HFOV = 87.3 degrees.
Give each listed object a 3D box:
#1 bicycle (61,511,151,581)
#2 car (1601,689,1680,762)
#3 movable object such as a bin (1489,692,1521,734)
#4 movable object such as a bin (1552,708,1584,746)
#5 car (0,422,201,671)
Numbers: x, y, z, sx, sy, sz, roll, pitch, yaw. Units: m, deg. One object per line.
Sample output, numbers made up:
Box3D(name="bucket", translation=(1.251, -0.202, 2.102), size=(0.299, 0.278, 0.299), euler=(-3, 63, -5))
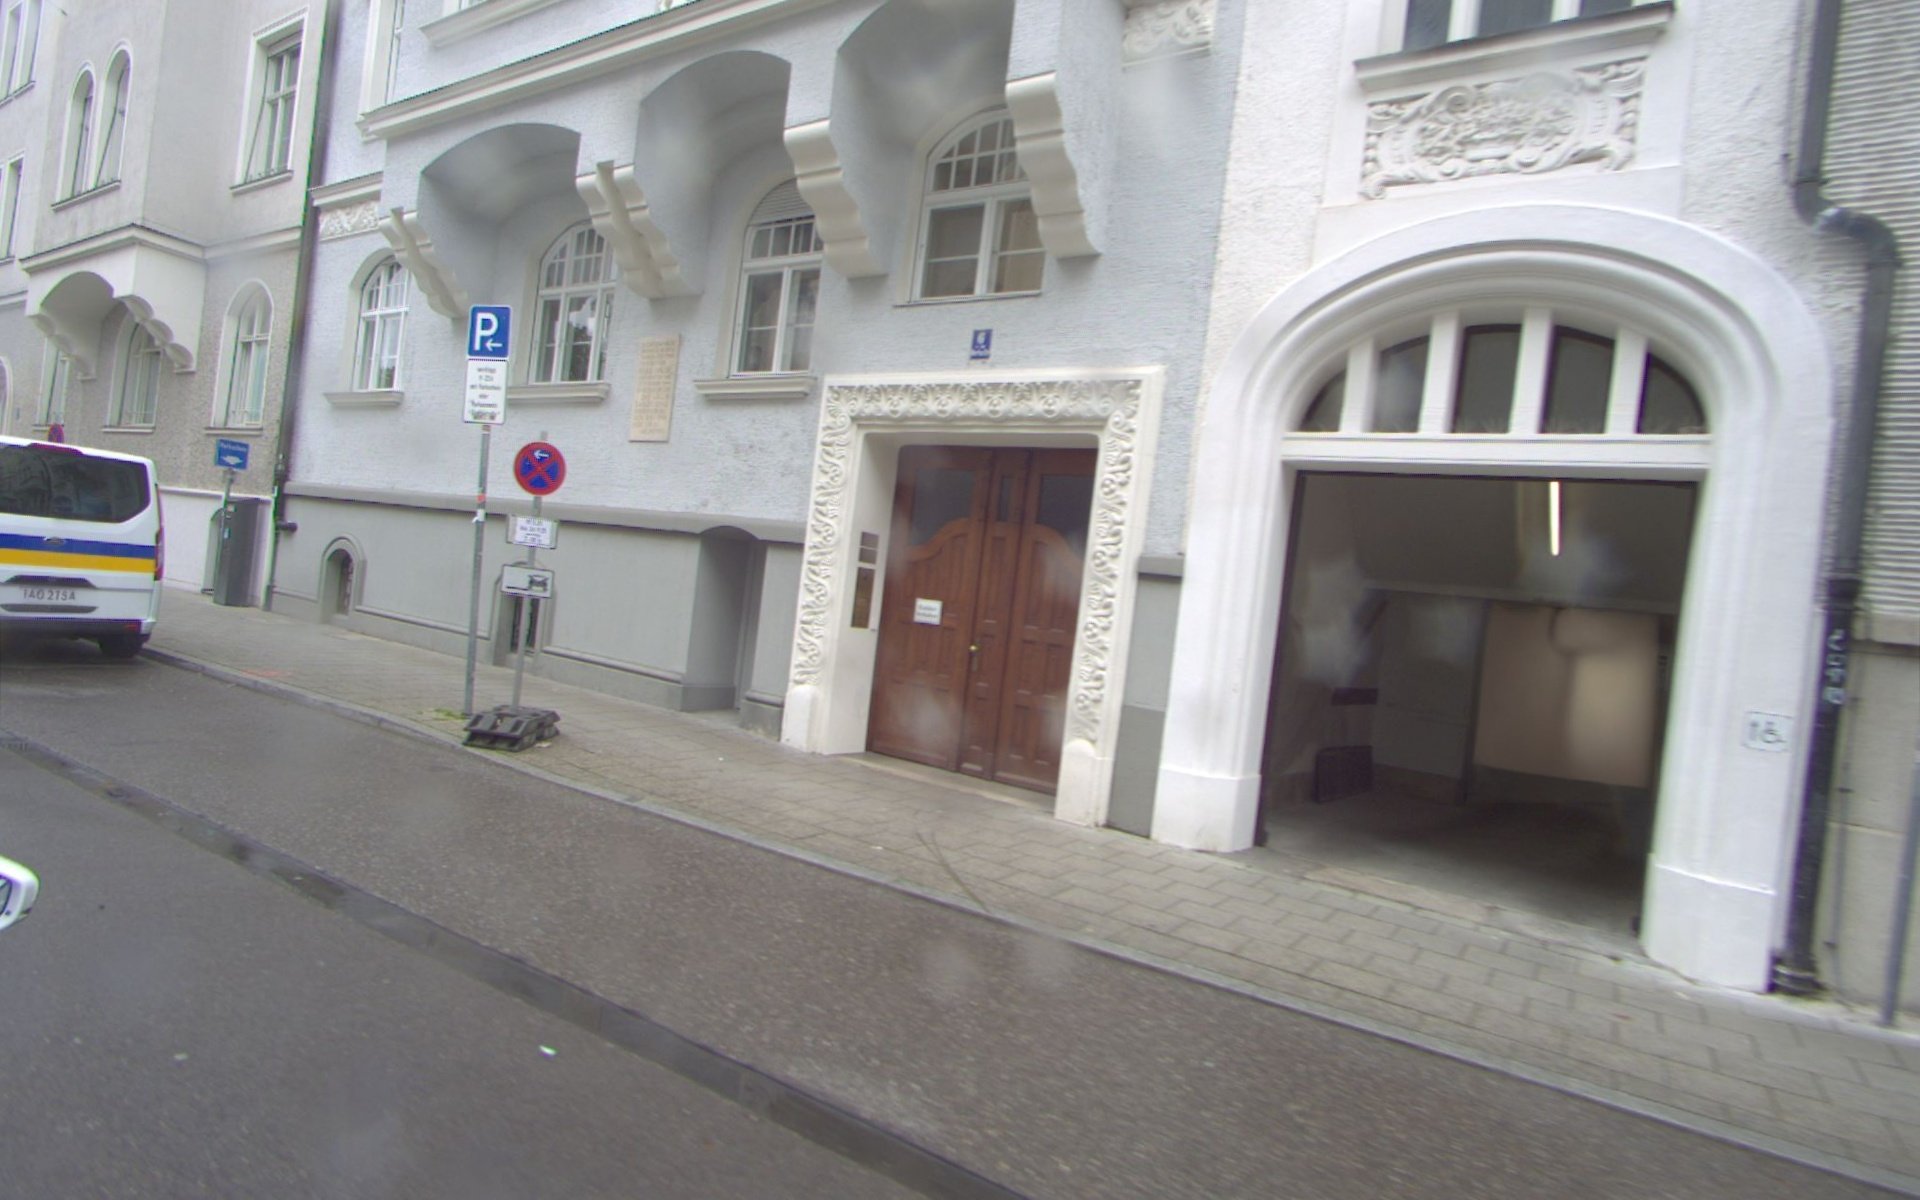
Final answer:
Box3D(name="bicycle", translation=(-15.777, -1.005, 18.569), size=(2.004, 1.108, 0.694), euler=(7, 2, 33))
Box3D(name="car", translation=(22.876, 4.145, 33.879), size=(1.858, 2.038, 4.773), euler=(7, 0, 34))
Box3D(name="movable object such as a bin", translation=(19.549, 4.036, 36.055), size=(0.760, 1.370, 1.325), euler=(7, 0, 34))
Box3D(name="movable object such as a bin", translation=(20.893, 4.349, 34.559), size=(0.760, 1.156, 1.325), euler=(7, 0, 34))
Box3D(name="car", translation=(-9.812, -0.655, 9.843), size=(4.909, 2.039, 1.962), euler=(7, 0, 31))
